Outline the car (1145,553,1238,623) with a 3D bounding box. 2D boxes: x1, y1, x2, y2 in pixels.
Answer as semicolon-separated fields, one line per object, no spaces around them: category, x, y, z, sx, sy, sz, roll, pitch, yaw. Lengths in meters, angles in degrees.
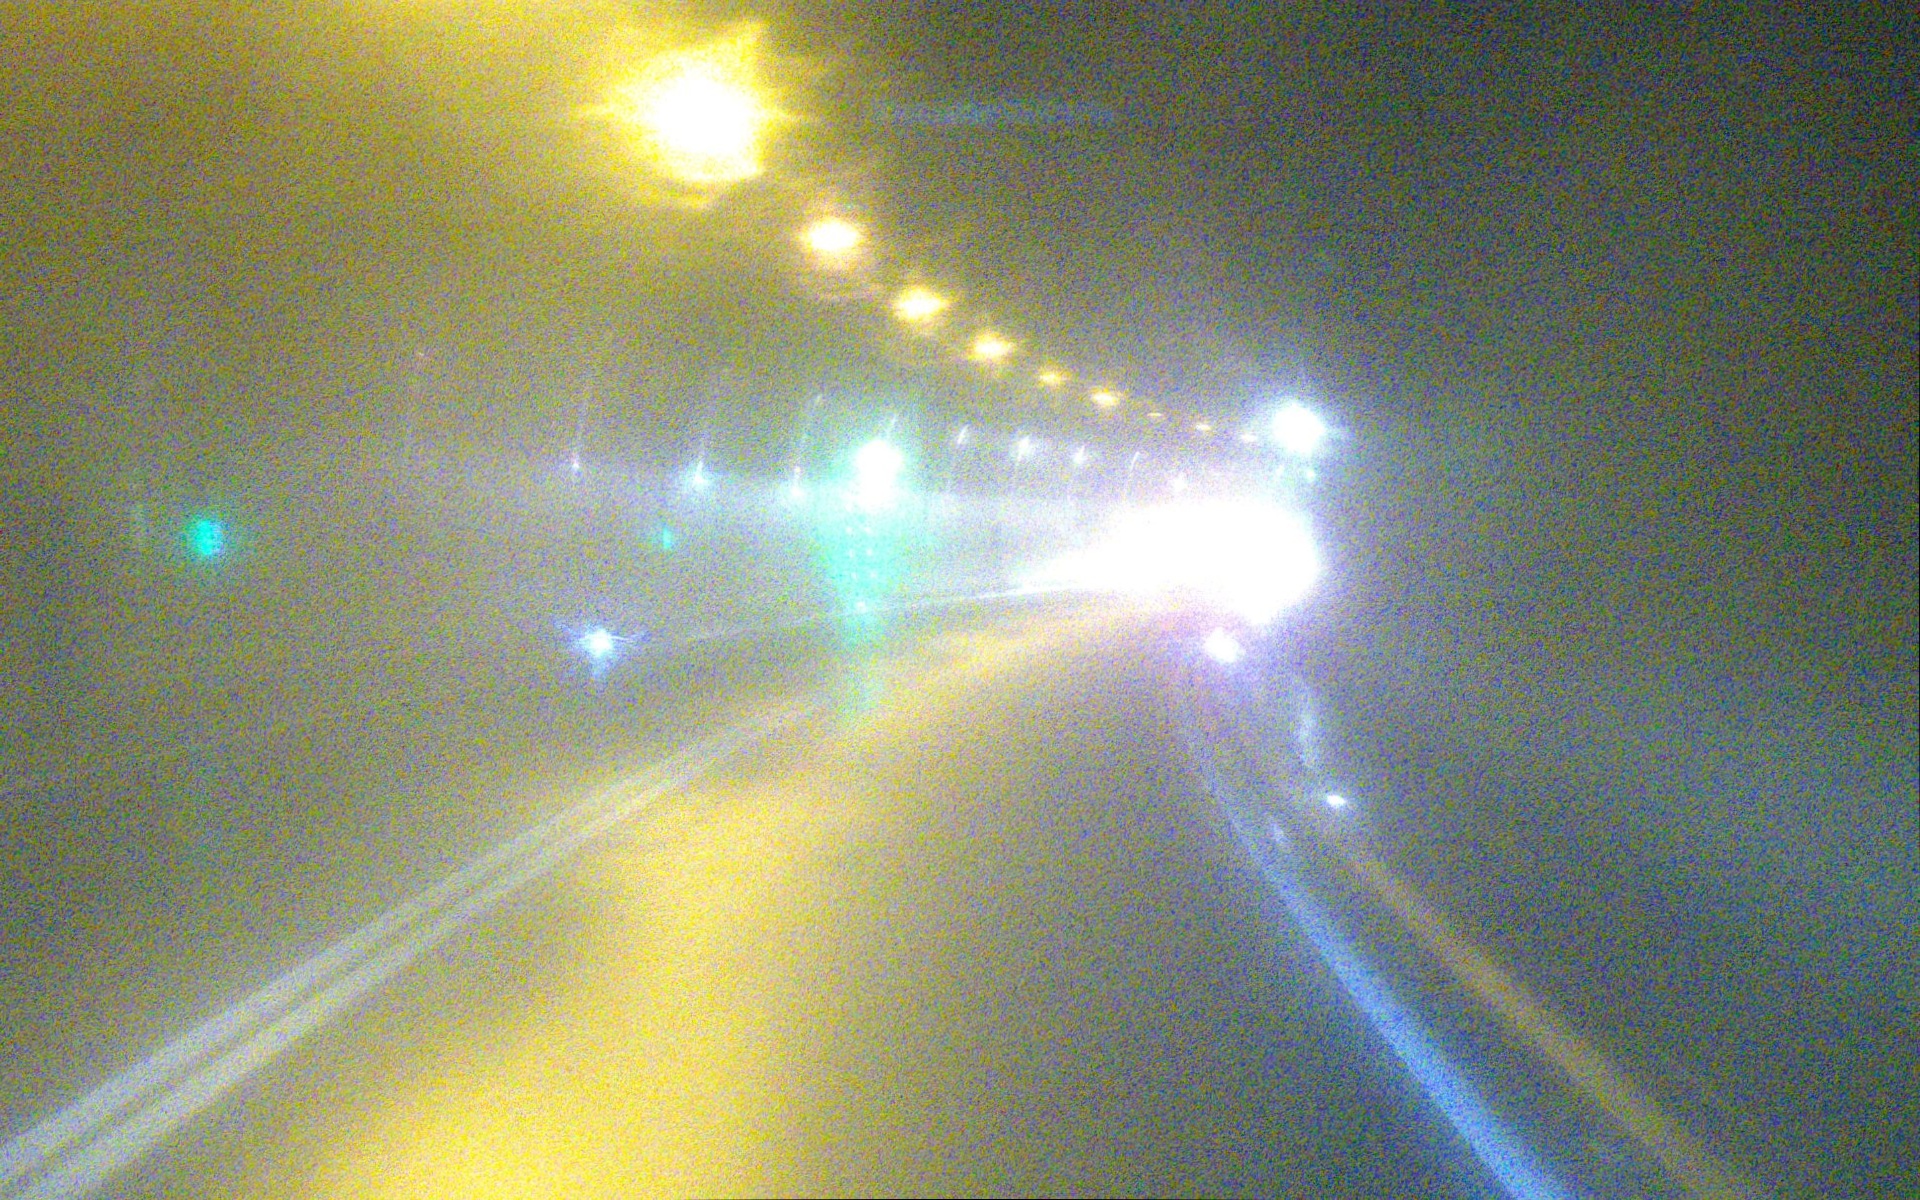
car;5.760;-0.317;85.114;1.994;1.645;3.999;1;1;8
